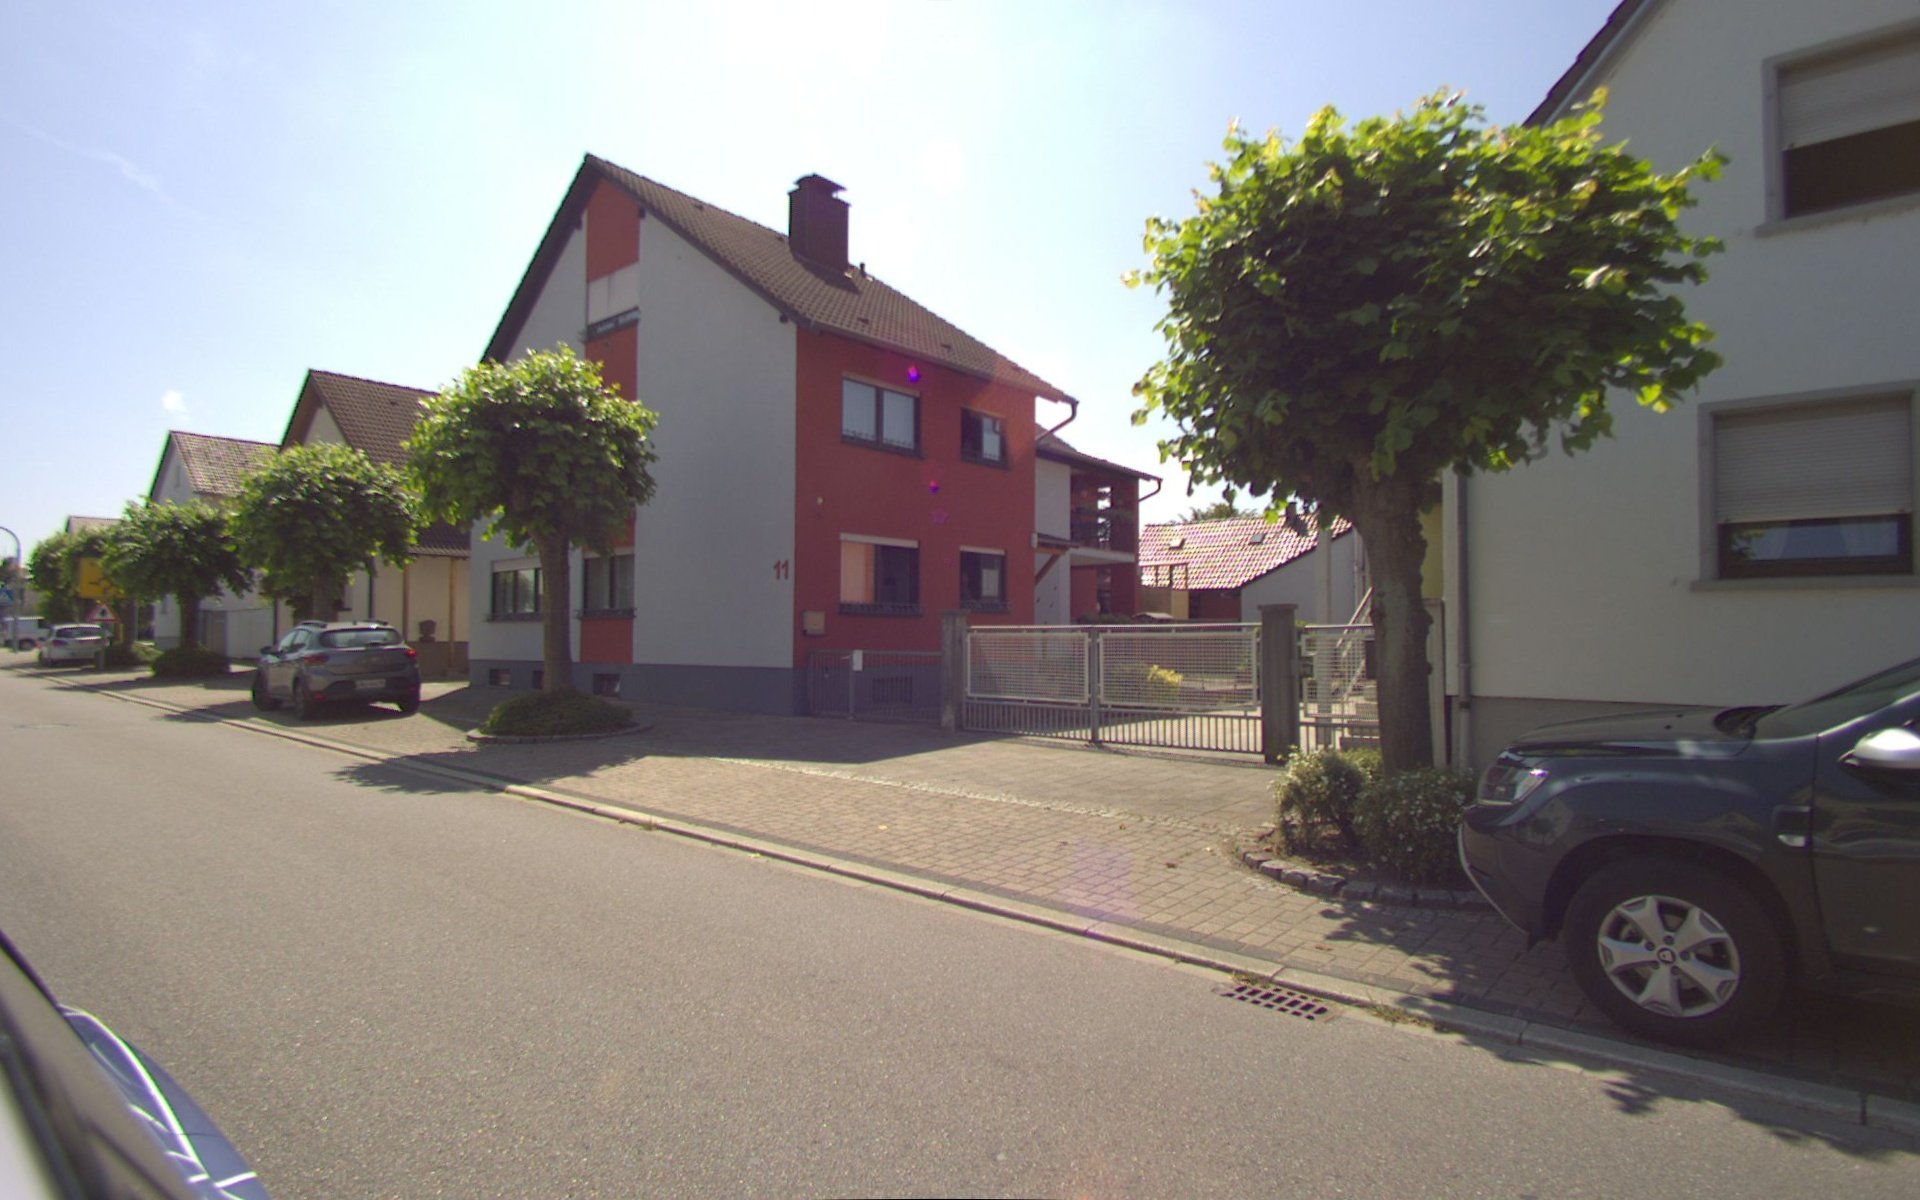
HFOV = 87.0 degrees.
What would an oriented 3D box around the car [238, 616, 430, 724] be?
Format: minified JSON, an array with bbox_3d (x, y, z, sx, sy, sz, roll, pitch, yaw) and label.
[{"bbox_3d":[-10.933,1.110,17.559,4.135,1.625,1.832,-1,-1,43],"label":"car"}]

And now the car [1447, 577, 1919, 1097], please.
[{"bbox_3d":[4.214,0.720,3.392,4.297,1.649,1.833,-2,-1,41],"label":"car"}]

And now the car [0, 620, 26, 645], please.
[{"bbox_3d":[-69.755,2.332,72.244,1.941,1.732,4.202,-1,0,35],"label":"car"}]

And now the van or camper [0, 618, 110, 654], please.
[{"bbox_3d":[-50.942,1.975,56.798,1.999,1.877,4.692,-2,-1,40],"label":"van or camper"}]

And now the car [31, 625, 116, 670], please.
[{"bbox_3d":[-31.874,1.663,36.362,4.131,1.494,1.805,-1,0,42],"label":"car"}]
